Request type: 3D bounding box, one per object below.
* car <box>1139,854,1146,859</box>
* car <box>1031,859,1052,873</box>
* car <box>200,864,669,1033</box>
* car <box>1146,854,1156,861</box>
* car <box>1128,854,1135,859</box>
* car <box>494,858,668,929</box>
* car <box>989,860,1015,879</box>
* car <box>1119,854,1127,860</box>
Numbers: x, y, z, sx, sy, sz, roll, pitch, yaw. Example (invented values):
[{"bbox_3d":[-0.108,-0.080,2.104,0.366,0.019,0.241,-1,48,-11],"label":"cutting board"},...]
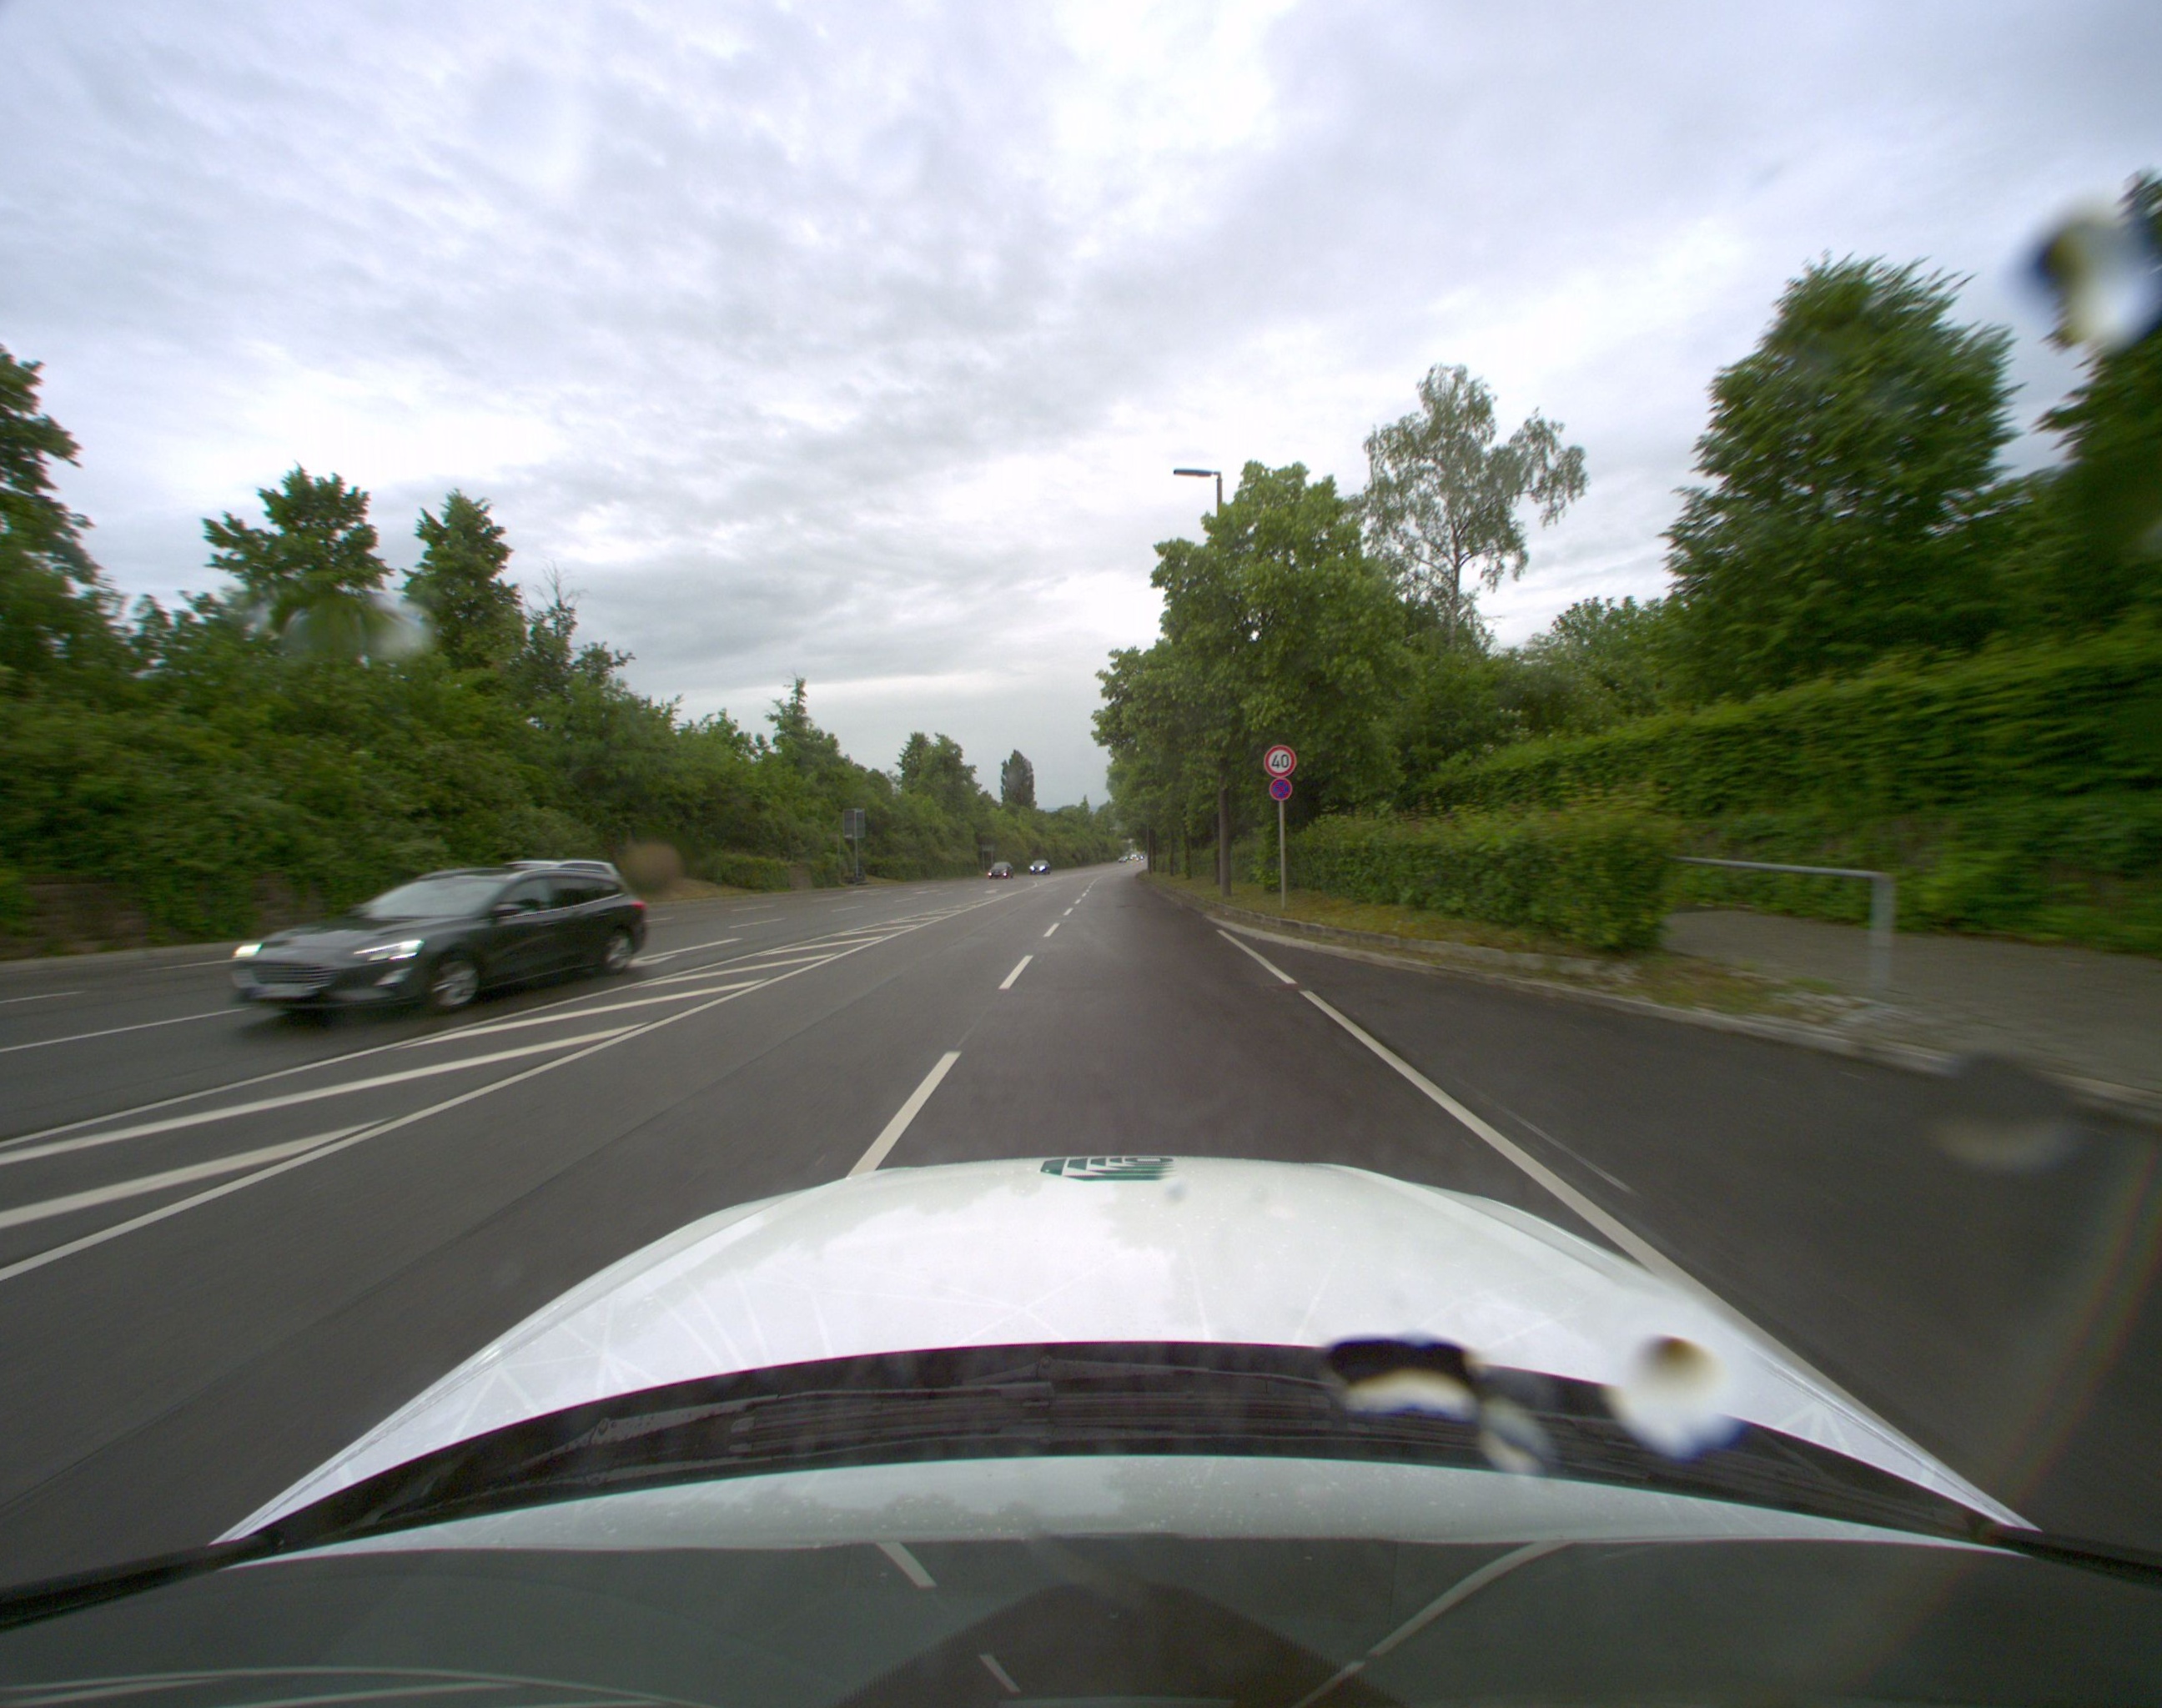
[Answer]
[{"bbox_3d":[18.786,0.776,249.503,1.854,1.464,3.901,1,0,8],"label":"car"},{"bbox_3d":[-4.525,1.360,93.117,1.855,1.589,3.898,1,0,5],"label":"car"},{"bbox_3d":[-7.166,0.905,9.857,1.771,1.472,4.648,-1,0,3],"label":"car"},{"bbox_3d":[16.280,0.764,188.637,1.934,1.591,3.937,-2,1,8],"label":"car"},{"bbox_3d":[15.216,0.743,244.051,1.854,1.464,3.901,1,0,8],"label":"car"},{"bbox_3d":[-12.523,0.918,20.729,1.716,1.591,4.005,-1,0,4],"label":"car"},{"bbox_3d":[-7.010,1.334,72.419,1.718,1.565,3.895,1,0,2],"label":"car"},{"bbox_3d":[10.539,0.682,203.009,1.855,1.464,3.898,1,0,5],"label":"car"}]
